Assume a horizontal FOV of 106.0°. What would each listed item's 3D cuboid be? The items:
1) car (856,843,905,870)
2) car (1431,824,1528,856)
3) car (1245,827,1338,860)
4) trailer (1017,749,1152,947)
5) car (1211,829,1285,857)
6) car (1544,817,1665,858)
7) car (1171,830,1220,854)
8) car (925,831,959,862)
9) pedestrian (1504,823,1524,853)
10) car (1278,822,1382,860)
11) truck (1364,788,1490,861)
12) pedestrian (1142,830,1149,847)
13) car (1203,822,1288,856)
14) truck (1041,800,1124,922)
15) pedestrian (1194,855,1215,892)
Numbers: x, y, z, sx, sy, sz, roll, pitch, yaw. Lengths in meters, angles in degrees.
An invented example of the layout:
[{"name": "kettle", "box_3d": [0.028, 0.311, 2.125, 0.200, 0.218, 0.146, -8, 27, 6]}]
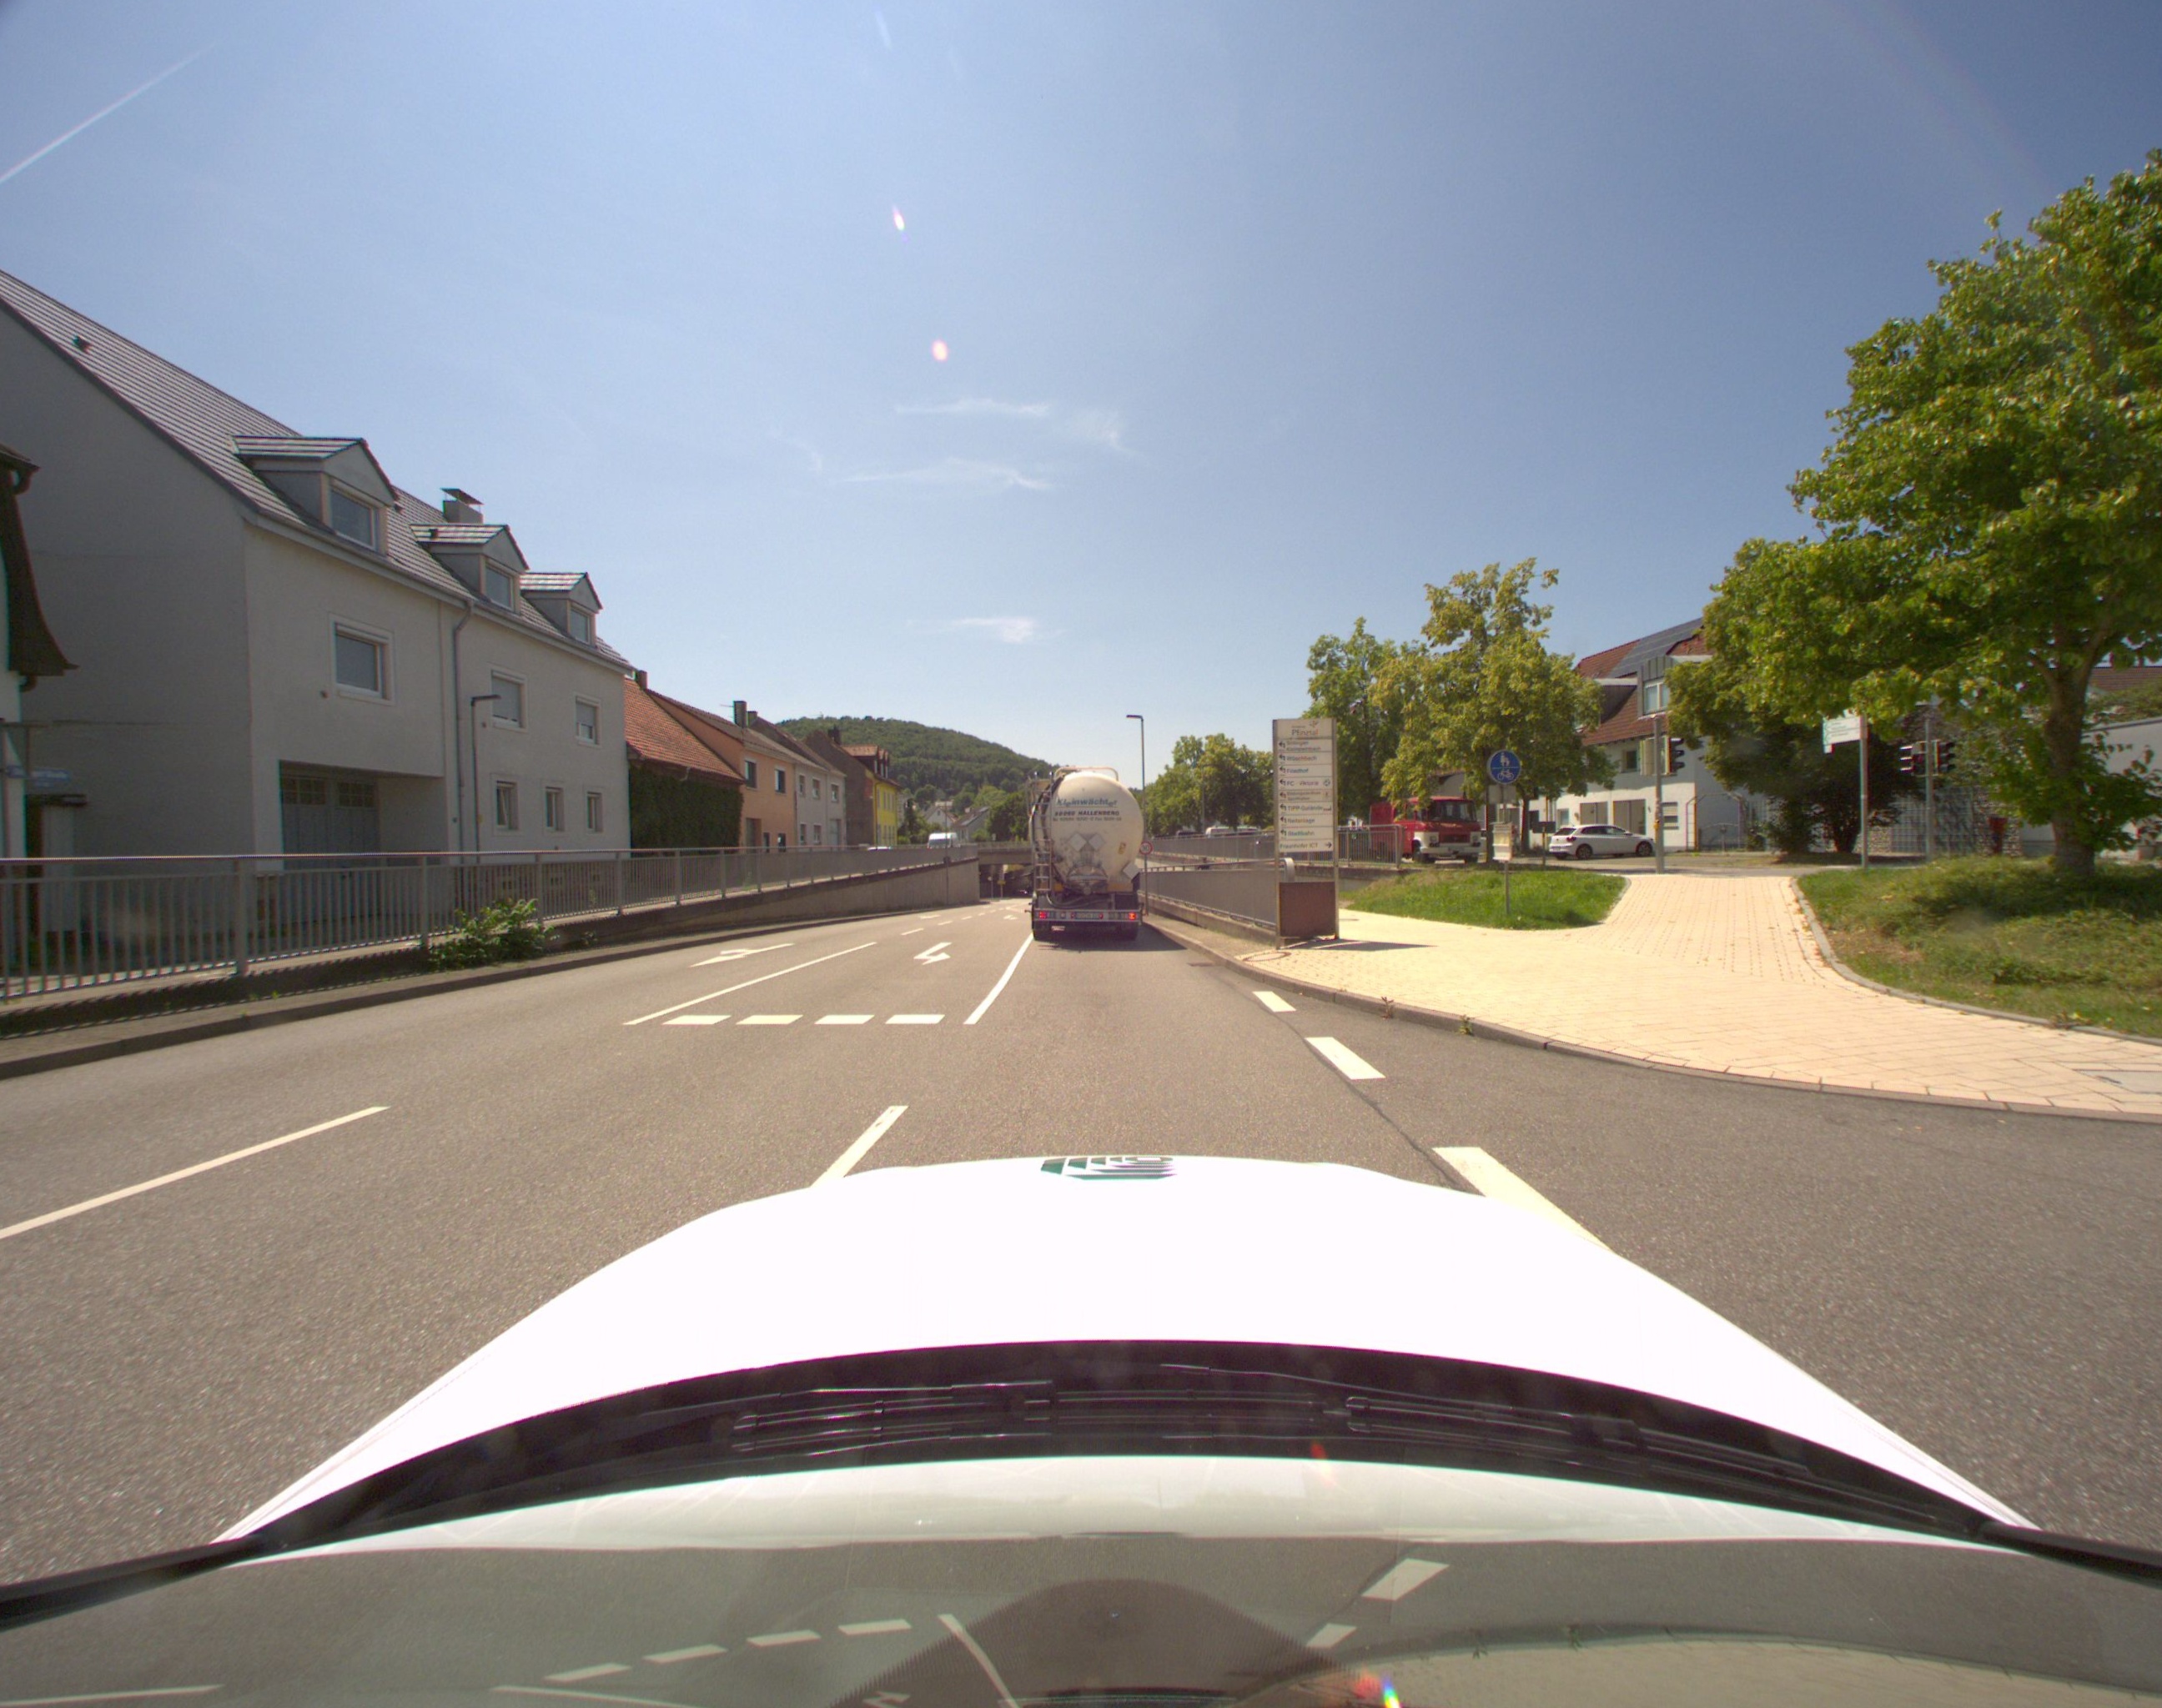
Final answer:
[{"name": "car", "box_3d": [-11.591, 0.108, 47.373, 1.808, 1.462, 4.308, 0, 1, -1]}, {"name": "car", "box_3d": [21.649, -0.767, 44.361, 4.393, 1.489, 1.757, -3, 0, -1]}, {"name": "car", "box_3d": [10.350, -0.523, 40.212, 4.191, 1.498, 1.686, -1, 0, -1]}, {"name": "trailer", "box_3d": [0.058, 0.094, 23.462, 2.726, 4.065, 13.307, -1, -2, 0]}, {"name": "car", "box_3d": [10.171, -0.660, 49.758, 4.191, 1.596, 1.686, -1, 0, -1]}, {"name": "car", "box_3d": [21.880, -0.683, 34.143, 3.926, 1.478, 1.757, -3, 0, -1]}, {"name": "car", "box_3d": [9.757, -1.036, 69.465, 3.893, 1.885, 1.686, -1, 0, -1]}, {"name": "car", "box_3d": [-11.848, -0.677, 69.621, 2.060, 2.536, 5.658, 0, 1, -1]}, {"name": "pedestrian", "box_3d": [22.480, -0.819, 42.279, 0.745, 1.511, 0.607, -4, 1, -39]}, {"name": "car", "box_3d": [10.802, -0.562, 35.502, 3.974, 1.498, 1.748, -1, 0, -1]}, {"name": "truck", "box_3d": [12.089, -0.989, 28.952, 2.126, 2.334, 5.256, -1, 1, -2]}, {"name": "pedestrian", "box_3d": [6.713, -1.609, 84.615, 0.670, 1.779, 0.594, -1, 0, 0]}, {"name": "car", "box_3d": [10.544, -0.946, 52.527, 5.096, 2.063, 1.988, -1, 0, -1]}, {"name": "truck", "box_3d": [0.032, 0.340, 30.553, 2.726, 4.065, 6.526, -1, -2, 0]}, {"name": "pedestrian", "box_3d": [5.980, 0.939, 39.418, 0.833, 1.782, 0.788, -1, -2, -1]}]
